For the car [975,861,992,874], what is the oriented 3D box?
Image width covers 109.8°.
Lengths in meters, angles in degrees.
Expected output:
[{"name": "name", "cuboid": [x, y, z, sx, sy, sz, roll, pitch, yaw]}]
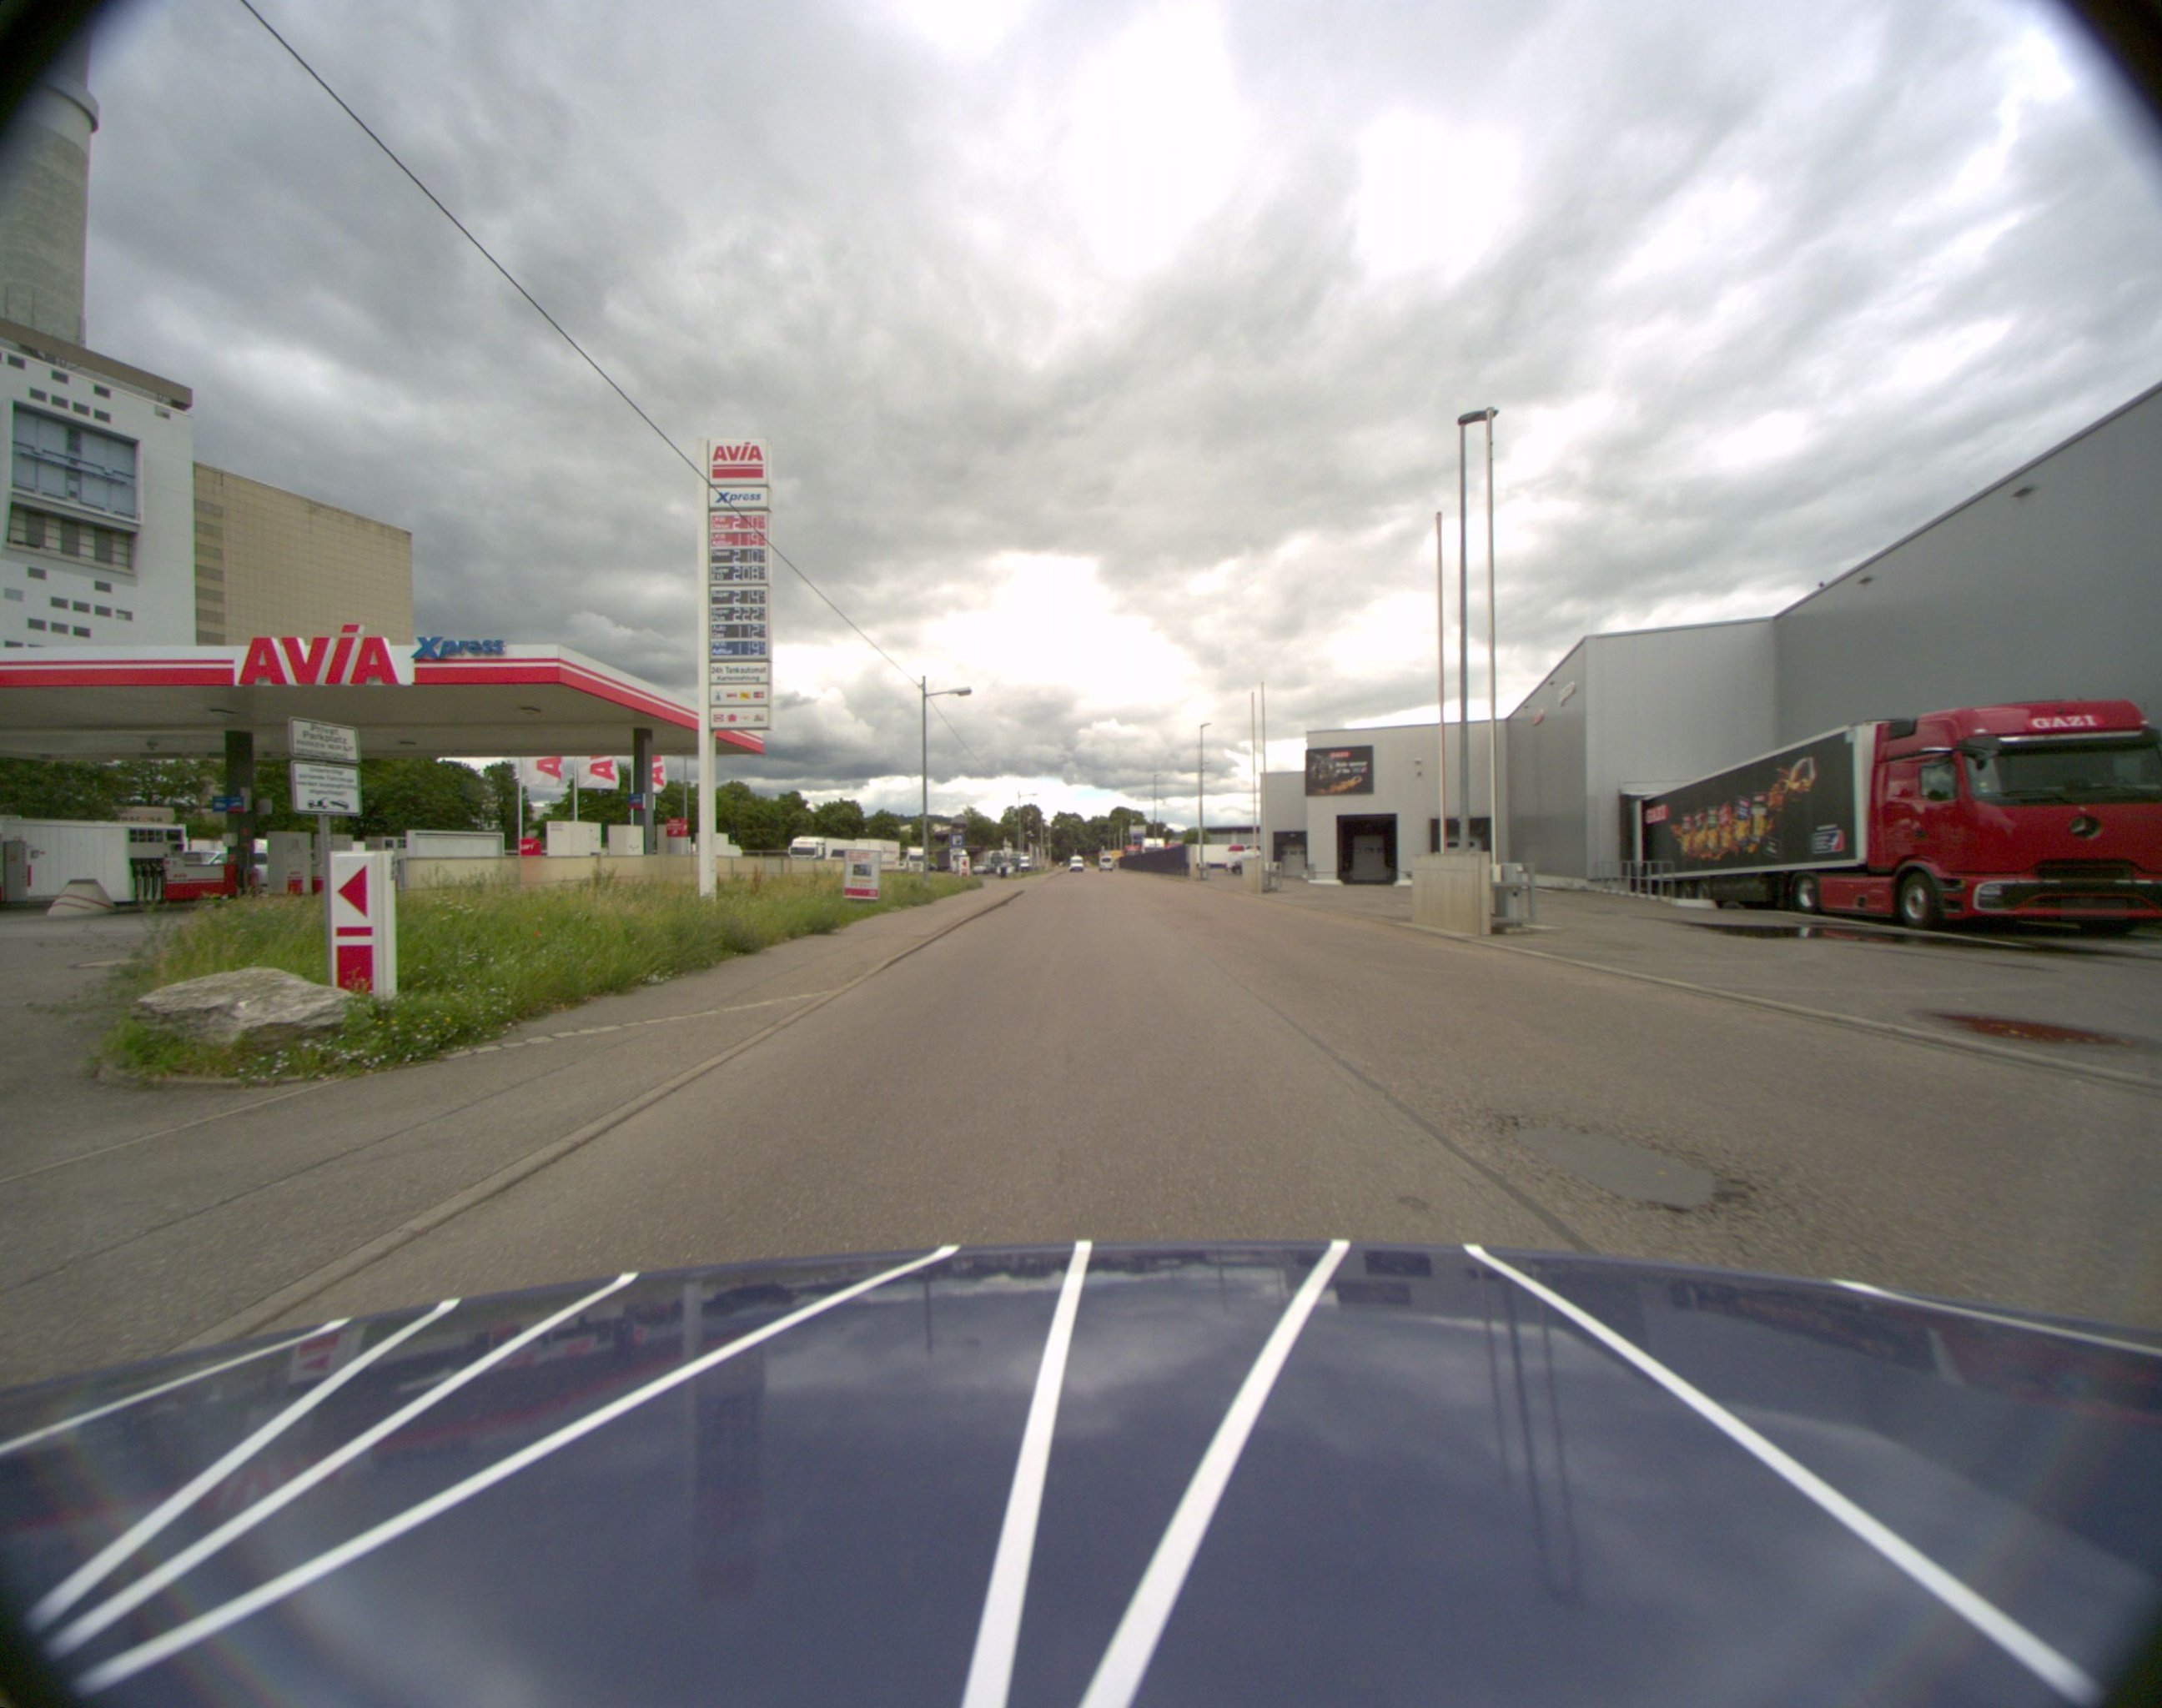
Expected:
[{"name": "car", "cuboid": [-12.861, 1.811, 100.349, 1.769, 1.561, 4.000, -3, 0, 0]}]

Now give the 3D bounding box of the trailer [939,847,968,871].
[{"name": "trailer", "cuboid": [-23.262, 0.884, 137.762, 2.843, 4.070, 13.374, 0, -1, -20]}]

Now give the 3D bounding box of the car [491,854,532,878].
[{"name": "car", "cuboid": [-67.678, 1.416, 90.309, 5.073, 2.820, 2.112, -1, 0, 31]}]

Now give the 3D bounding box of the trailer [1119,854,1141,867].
[{"name": "trailer", "cuboid": [8.529, 1.169, 133.290, 3.046, 2.179, 12.049, 1, 0, 1]}]

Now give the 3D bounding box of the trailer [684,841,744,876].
[{"name": "trailer", "cuboid": [-44.506, 0.563, 92.693, 3.644, 3.887, 13.723, 0, -1, -13]}]

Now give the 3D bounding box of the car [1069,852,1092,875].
[{"name": "car", "cuboid": [-0.122, 1.532, 124.496, 3.339, 3.586, 8.668, -1, 0, -3]}]

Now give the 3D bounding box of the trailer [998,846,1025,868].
[{"name": "trailer", "cuboid": [-13.886, 0.681, 150.532, 2.842, 4.070, 13.379, 0, -1, -16]}]

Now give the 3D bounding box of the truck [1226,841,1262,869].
[{"name": "truck", "cuboid": [24.592, 0.149, 114.532, 4.870, 4.180, 3.053, 1, 0, 22]}]

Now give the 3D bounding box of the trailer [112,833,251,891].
[{"name": "trailer", "cuboid": [-76.130, 0.758, 64.097, 18.242, 4.474, 3.565, -1, 0, 28]}]

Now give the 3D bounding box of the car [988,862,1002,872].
[{"name": "car", "cuboid": [-12.963, 1.946, 114.080, 1.497, 1.486, 4.053, -1, 0, 2]}]

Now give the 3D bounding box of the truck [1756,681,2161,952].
[{"name": "truck", "cuboid": [16.599, -0.520, 14.815, 2.745, 4.007, 7.104, -1, -1, 21]}]

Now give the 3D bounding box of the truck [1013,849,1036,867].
[{"name": "truck", "cuboid": [-12.076, 0.892, 161.172, 2.832, 3.689, 9.090, -1, 0, -18]}]

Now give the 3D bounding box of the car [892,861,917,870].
[{"name": "car", "cuboid": [-35.495, 2.290, 152.650, 4.707, 1.881, 2.004, -1, 0, 32]}]

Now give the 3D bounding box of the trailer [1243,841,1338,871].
[{"name": "trailer", "cuboid": [30.776, 0.249, 111.979, 13.158, 4.188, 3.053, 1, 0, 22]}]

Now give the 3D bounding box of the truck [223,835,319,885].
[{"name": "truck", "cuboid": [-69.813, 0.539, 65.505, 7.237, 4.096, 3.718, -1, 0, 27]}]

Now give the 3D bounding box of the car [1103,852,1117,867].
[{"name": "car", "cuboid": [4.600, 0.899, 121.424, 1.998, 2.401, 5.258, -2, -1, 4]}]

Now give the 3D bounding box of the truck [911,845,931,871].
[{"name": "truck", "cuboid": [-25.257, 0.656, 120.108, 2.876, 4.070, 6.749, 0, -1, -14]}]

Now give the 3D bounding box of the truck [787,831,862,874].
[{"name": "truck", "cuboid": [-25.713, -0.059, 77.087, 3.082, 3.944, 13.069, 1, 0, 0]}]

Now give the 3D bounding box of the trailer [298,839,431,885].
[{"name": "trailer", "cuboid": [-70.784, 0.836, 74.813, 18.452, 4.148, 3.649, -1, 0, 28]}]

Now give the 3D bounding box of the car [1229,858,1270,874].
[{"name": "car", "cuboid": [18.402, 1.283, 83.177, 4.072, 1.567, 1.947, -2, -1, 22]}]

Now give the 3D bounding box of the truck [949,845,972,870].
[{"name": "truck", "cuboid": [-20.820, 0.651, 130.948, 2.877, 4.070, 6.746, 0, -1, -19]}]

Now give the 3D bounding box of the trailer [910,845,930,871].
[{"name": "trailer", "cuboid": [-26.756, 0.710, 126.053, 2.841, 4.070, 13.381, 0, -1, -14]}]

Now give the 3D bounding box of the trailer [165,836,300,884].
[{"name": "trailer", "cuboid": [-78.000, 0.635, 69.648, 18.453, 4.065, 3.649, -1, 0, 27]}]

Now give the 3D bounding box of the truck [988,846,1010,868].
[{"name": "truck", "cuboid": [-15.163, 0.584, 140.187, 2.876, 3.989, 6.748, 0, -1, -15]}]

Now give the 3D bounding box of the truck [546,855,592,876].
[{"name": "truck", "cuboid": [-66.141, 1.453, 98.195, 5.942, 2.476, 2.286, 1, 0, 26]}]

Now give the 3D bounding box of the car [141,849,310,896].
[{"name": "car", "cuboid": [-38.039, 0.799, 34.020, 1.988, 1.901, 4.951, -1, -1, 0]}]

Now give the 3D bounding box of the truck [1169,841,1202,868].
[{"name": "truck", "cuboid": [16.777, 0.078, 121.811, 4.878, 4.108, 3.048, 1, 0, 1]}]

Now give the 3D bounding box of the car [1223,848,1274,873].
[{"name": "car", "cuboid": [19.367, 0.735, 87.866, 5.423, 2.714, 2.245, -2, -1, 19]}]

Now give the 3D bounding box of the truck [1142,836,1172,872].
[{"name": "truck", "cuboid": [9.081, 0.008, 91.661, 3.366, 4.136, 5.629, 1, 0, 4]}]

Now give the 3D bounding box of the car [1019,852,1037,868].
[{"name": "car", "cuboid": [-7.872, 0.895, 114.174, 2.091, 2.401, 6.084, -1, 0, 2]}]

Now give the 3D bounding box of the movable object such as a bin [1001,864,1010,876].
[{"name": "movable object such as a bin", "cuboid": [-6.521, 1.388, 65.490, 0.716, 1.075, 0.662, -1, 0, -6]}]

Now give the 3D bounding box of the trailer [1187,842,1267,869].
[{"name": "trailer", "cuboid": [23.122, 0.219, 120.424, 12.020, 4.108, 3.053, 1, 0, 19]}]

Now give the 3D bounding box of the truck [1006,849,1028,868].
[{"name": "truck", "cuboid": [-12.197, 0.895, 144.377, 2.876, 3.608, 6.748, 0, -1, -15]}]

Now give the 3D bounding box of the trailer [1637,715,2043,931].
[{"name": "trailer", "cuboid": [18.771, -0.514, 20.499, 2.745, 4.007, 12.637, -1, -1, 21]}]

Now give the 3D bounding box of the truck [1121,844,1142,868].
[{"name": "truck", "cuboid": [8.474, 0.323, 127.651, 3.021, 3.826, 5.670, 1, 0, 1]}]

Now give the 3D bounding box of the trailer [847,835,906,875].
[{"name": "trailer", "cuboid": [-21.731, 0.110, 81.355, 2.964, 3.944, 10.408, 1, 0, 3]}]

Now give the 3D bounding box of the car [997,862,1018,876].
[{"name": "car", "cuboid": [-7.957, 1.575, 82.591, 1.778, 1.455, 4.560, -1, 0, 0]}]

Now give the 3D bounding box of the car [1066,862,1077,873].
[{"name": "car", "cuboid": [-1.819, 2.454, 138.377, 1.713, 2.001, 3.888, -1, 0, -5]}]

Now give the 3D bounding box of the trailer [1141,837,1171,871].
[{"name": "trailer", "cuboid": [9.558, 0.035, 98.646, 3.366, 4.135, 13.853, 1, 0, 4]}]
